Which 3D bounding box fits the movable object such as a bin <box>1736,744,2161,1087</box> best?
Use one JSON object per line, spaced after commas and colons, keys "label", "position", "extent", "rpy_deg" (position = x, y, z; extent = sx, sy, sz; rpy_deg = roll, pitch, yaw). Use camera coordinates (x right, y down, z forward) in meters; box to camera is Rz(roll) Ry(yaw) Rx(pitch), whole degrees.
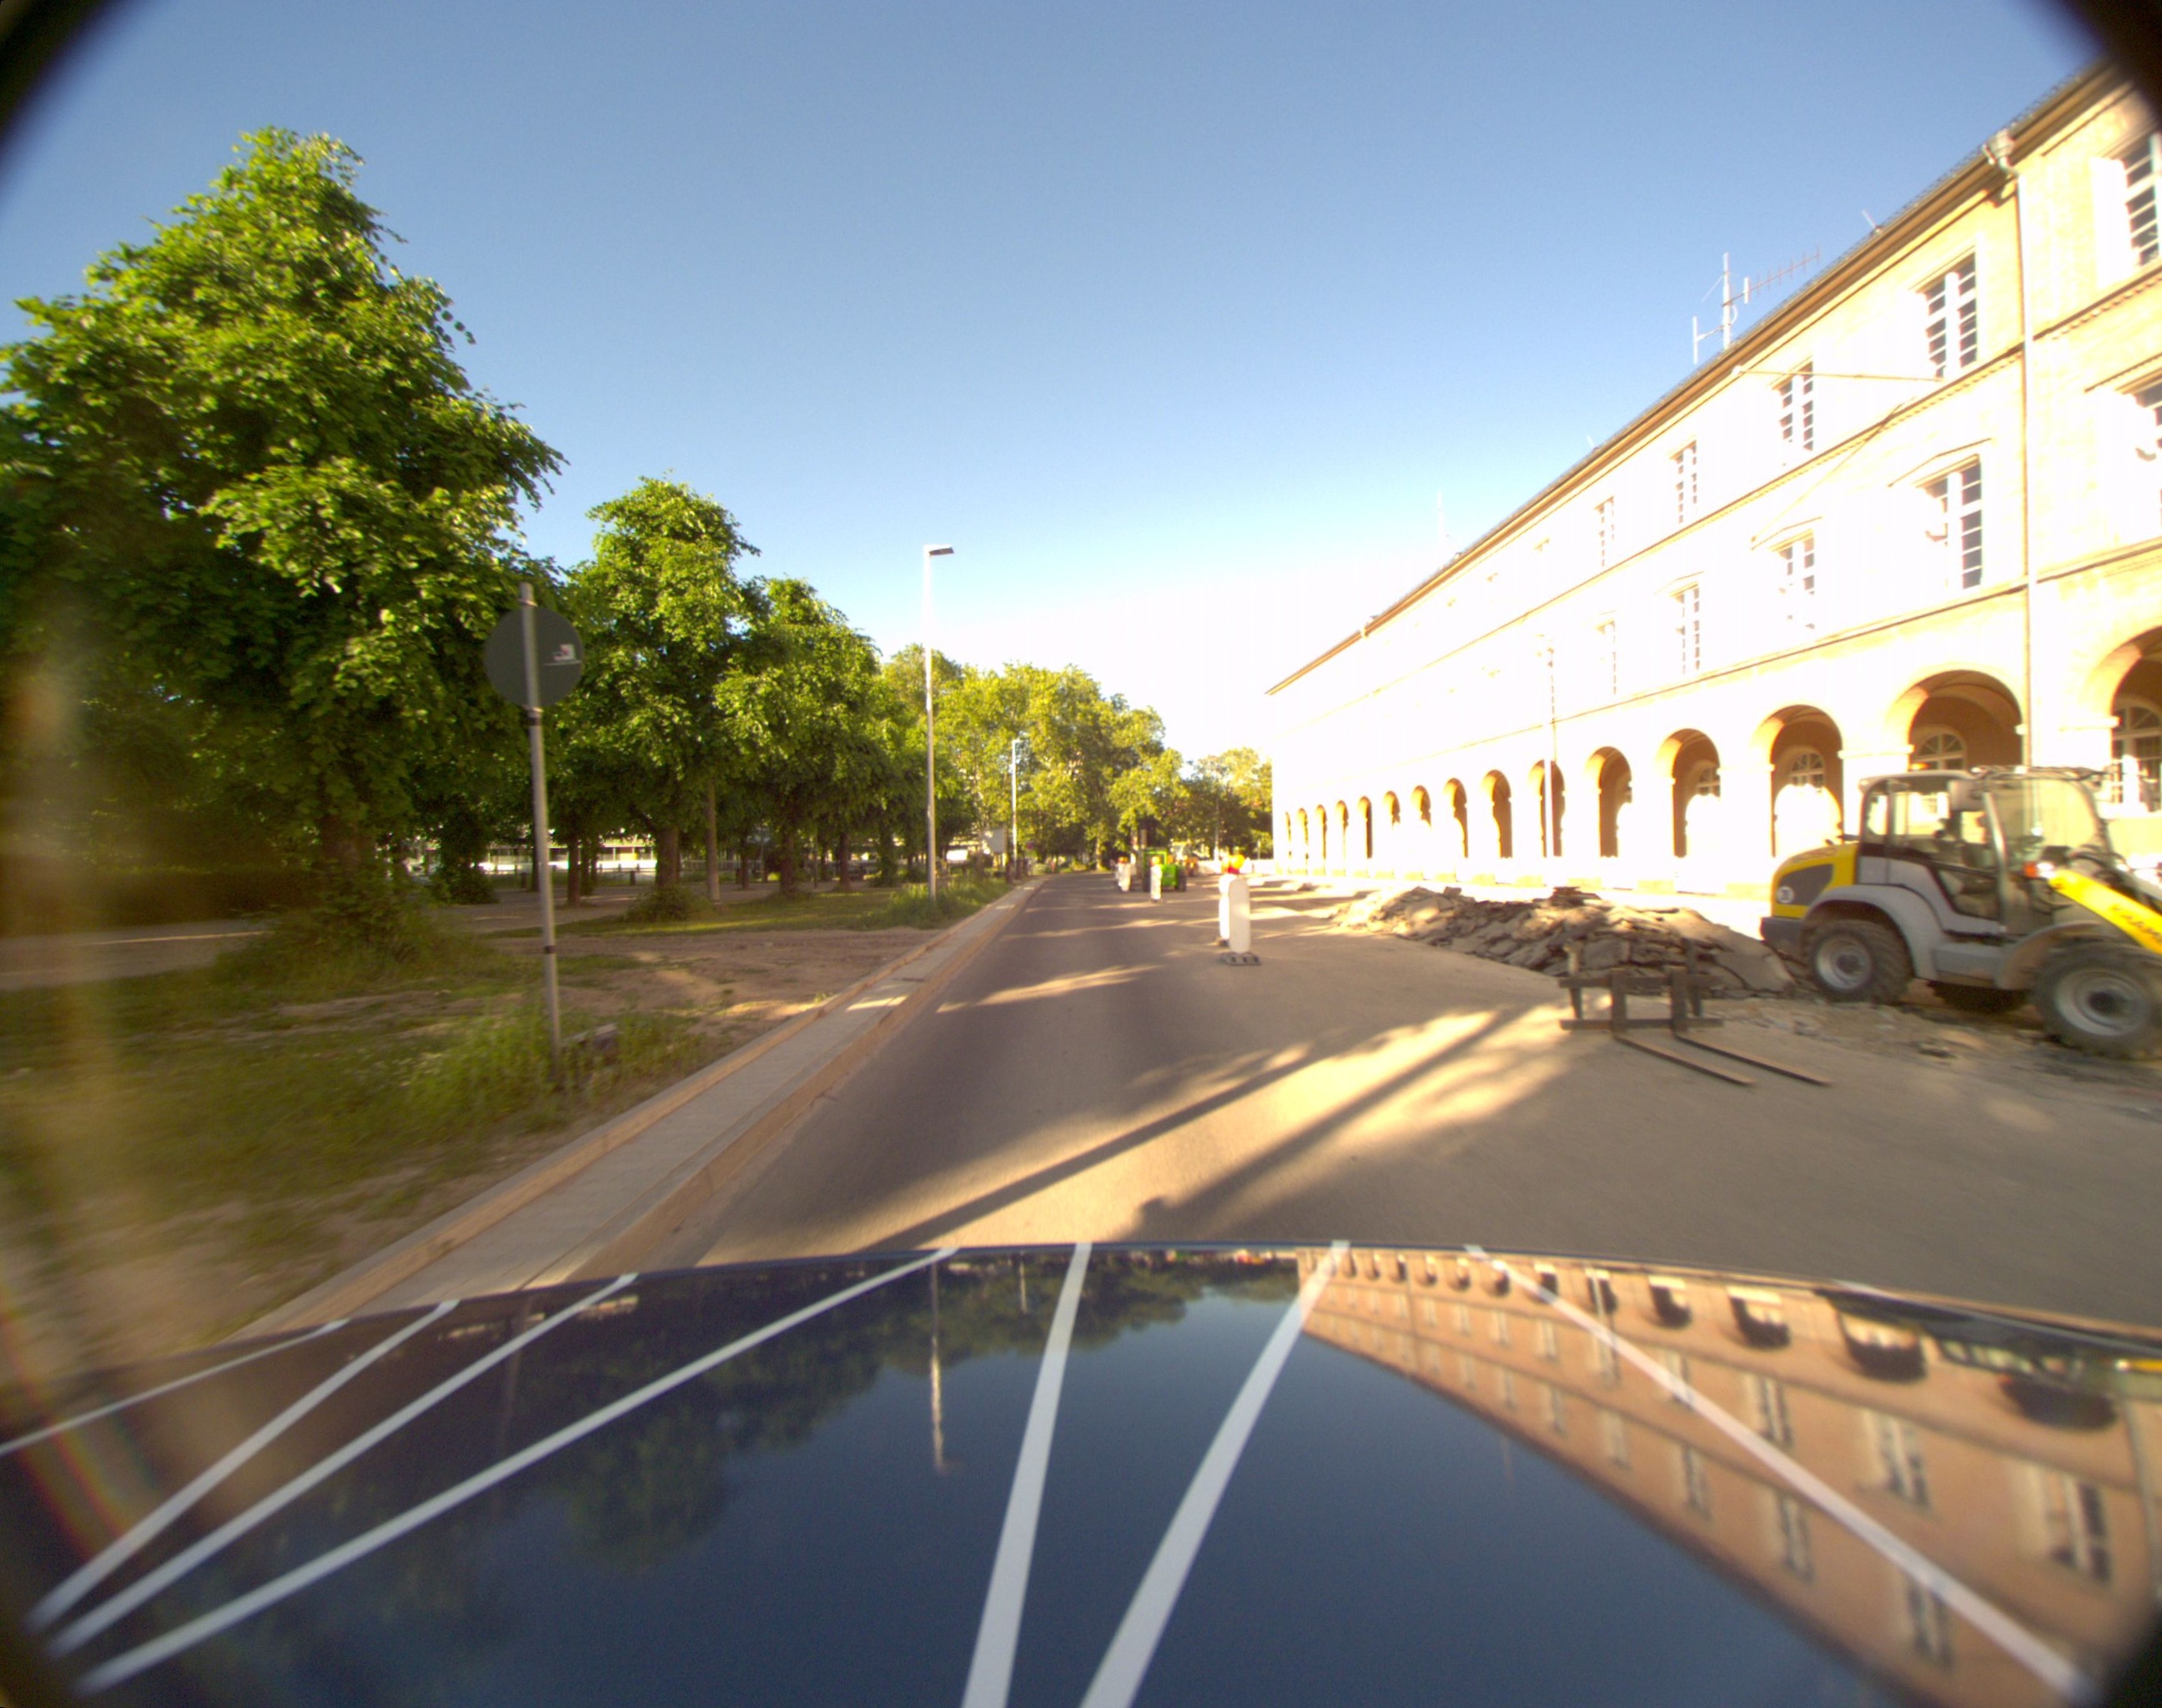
{"label": "movable object such as a bin", "position": [8.541, 0.435, 6.526], "extent": [1.795, 2.438, 4.535], "rpy_deg": [0, 0, -3]}

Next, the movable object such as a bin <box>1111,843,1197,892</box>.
{"label": "movable object such as a bin", "position": [3.159, 0.558, 33.231], "extent": [3.244, 2.065, 2.108], "rpy_deg": [0, 0, -13]}
